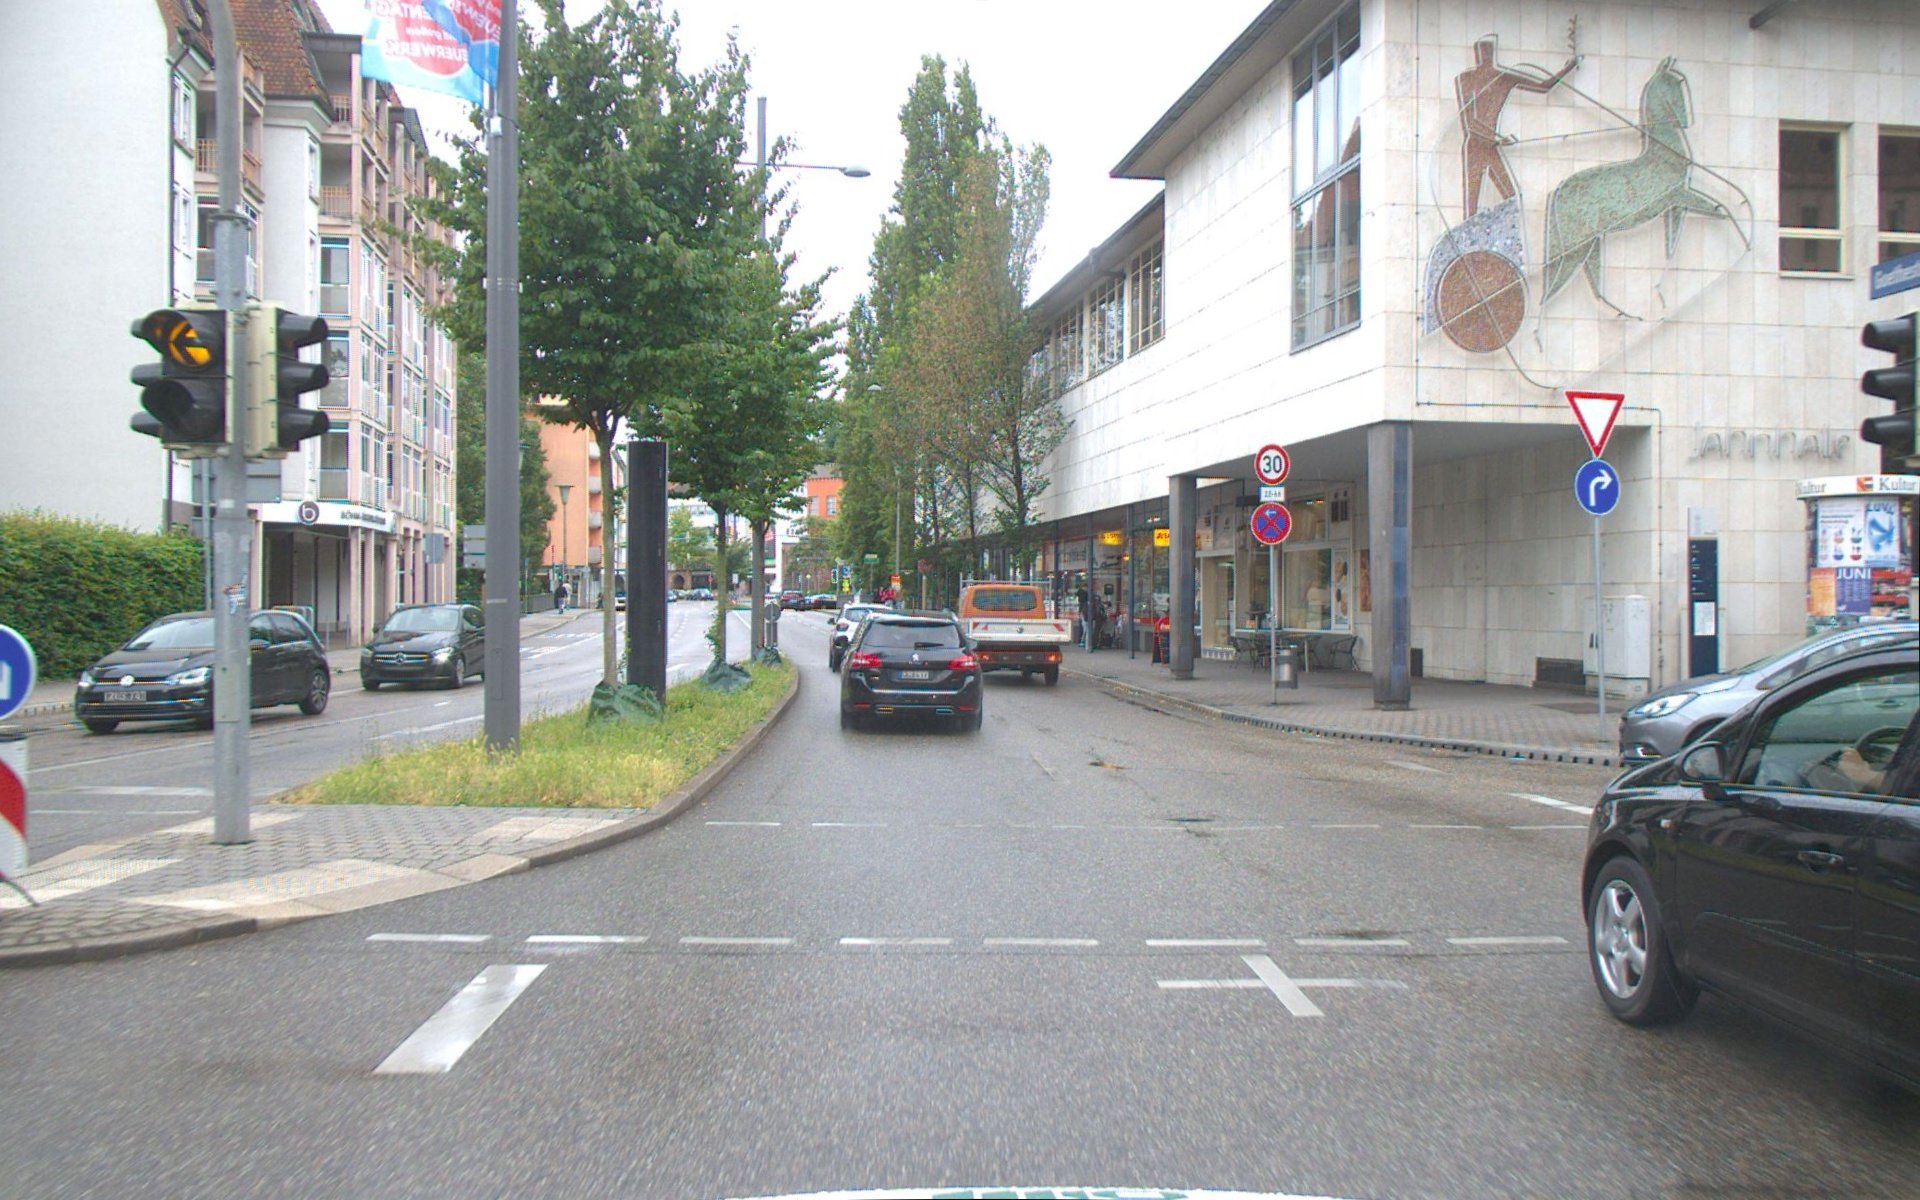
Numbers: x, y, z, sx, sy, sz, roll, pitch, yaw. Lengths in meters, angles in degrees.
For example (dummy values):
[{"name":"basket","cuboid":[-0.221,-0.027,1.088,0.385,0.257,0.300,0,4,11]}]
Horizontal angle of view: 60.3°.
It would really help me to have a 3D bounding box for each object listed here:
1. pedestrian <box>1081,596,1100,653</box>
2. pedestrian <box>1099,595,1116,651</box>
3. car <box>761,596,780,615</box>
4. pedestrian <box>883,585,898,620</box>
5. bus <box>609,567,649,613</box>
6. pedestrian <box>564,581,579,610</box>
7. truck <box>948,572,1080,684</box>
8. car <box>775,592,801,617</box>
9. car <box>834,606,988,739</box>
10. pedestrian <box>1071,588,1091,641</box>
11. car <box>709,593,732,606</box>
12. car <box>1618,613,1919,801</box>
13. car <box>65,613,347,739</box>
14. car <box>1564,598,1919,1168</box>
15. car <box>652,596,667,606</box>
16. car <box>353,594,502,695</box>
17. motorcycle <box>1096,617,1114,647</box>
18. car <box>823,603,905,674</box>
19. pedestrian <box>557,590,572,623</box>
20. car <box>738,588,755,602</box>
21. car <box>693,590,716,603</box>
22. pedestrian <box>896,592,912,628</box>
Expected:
[{"name":"pedestrian","cuboid":[3.680,0.682,46.695,0.421,1.594,0.508,0,0,-11]},{"name":"pedestrian","cuboid":[4.235,0.666,47.509,0.380,1.594,0.429,0,0,-11]},{"name":"car","cuboid":[-18.049,0.578,157.464,1.614,1.592,3.592,3,-3,-9]},{"name":"pedestrian","cuboid":[-3.611,0.116,85.312,0.641,1.798,0.921,-1,0,-9]},{"name":"bus","cuboid":[-24.359,-0.811,122.183,2.695,3.129,12.207,0,1,-11]},{"name":"pedestrian","cuboid":[-24.549,-0.301,104.493,0.782,1.825,0.811,1,-1,-7]},{"name":"truck","cuboid":[1.012,0.568,33.462,2.080,2.061,4.710,1,-1,-5]},{"name":"car","cuboid":[-12.230,0.324,117.684,1.614,1.592,3.592,3,-3,-9]},{"name":"car","cuboid":[-0.598,0.877,21.388,1.758,1.509,3.999,2,-1,-1]},{"name":"pedestrian","cuboid":[3.691,0.427,50.417,0.422,1.594,0.507,0,0,37]},{"name":"car","cuboid":[-32.931,-0.039,227.424,1.630,1.592,3.558,4,-3,-33]},{"name":"car","cuboid":[7.945,0.918,14.647,3.906,1.503,1.999,1,-1,22]},{"name":"car","cuboid":[-9.666,0.929,21.584,1.721,1.445,4.097,-2,-1,1]},{"name":"car","cuboid":[3.332,0.764,4.704,1.674,1.482,3.740,2,0,-3]},{"name":"car","cuboid":[-38.365,0.140,211.086,1.758,1.348,4.397,0,0,-9]},{"name":"car","cuboid":[-10.182,0.816,31.933,1.792,1.766,4.254,-1,0,-5]},{"name":"motorcycle","cuboid":[4.173,0.925,47.696,0.318,0.818,0.918,-1,1,-9]},{"name":"car","cuboid":[-2.204,0.821,37.214,1.760,1.509,3.996,0,0,-5]},{"name":"pedestrian","cuboid":[-22.585,0.367,94.450,0.684,1.825,0.957,1,-1,-6]},{"name":"car","cuboid":[-28.032,-0.658,217.028,1.959,1.713,3.988,0,0,-12]},{"name":"car","cuboid":[-34.506,-0.439,223.288,1.630,1.592,3.558,4,-3,-33]},{"name":"pedestrian","cuboid":[-2.887,0.511,85.261,0.685,1.833,0.605,-1,0,-9]}]
